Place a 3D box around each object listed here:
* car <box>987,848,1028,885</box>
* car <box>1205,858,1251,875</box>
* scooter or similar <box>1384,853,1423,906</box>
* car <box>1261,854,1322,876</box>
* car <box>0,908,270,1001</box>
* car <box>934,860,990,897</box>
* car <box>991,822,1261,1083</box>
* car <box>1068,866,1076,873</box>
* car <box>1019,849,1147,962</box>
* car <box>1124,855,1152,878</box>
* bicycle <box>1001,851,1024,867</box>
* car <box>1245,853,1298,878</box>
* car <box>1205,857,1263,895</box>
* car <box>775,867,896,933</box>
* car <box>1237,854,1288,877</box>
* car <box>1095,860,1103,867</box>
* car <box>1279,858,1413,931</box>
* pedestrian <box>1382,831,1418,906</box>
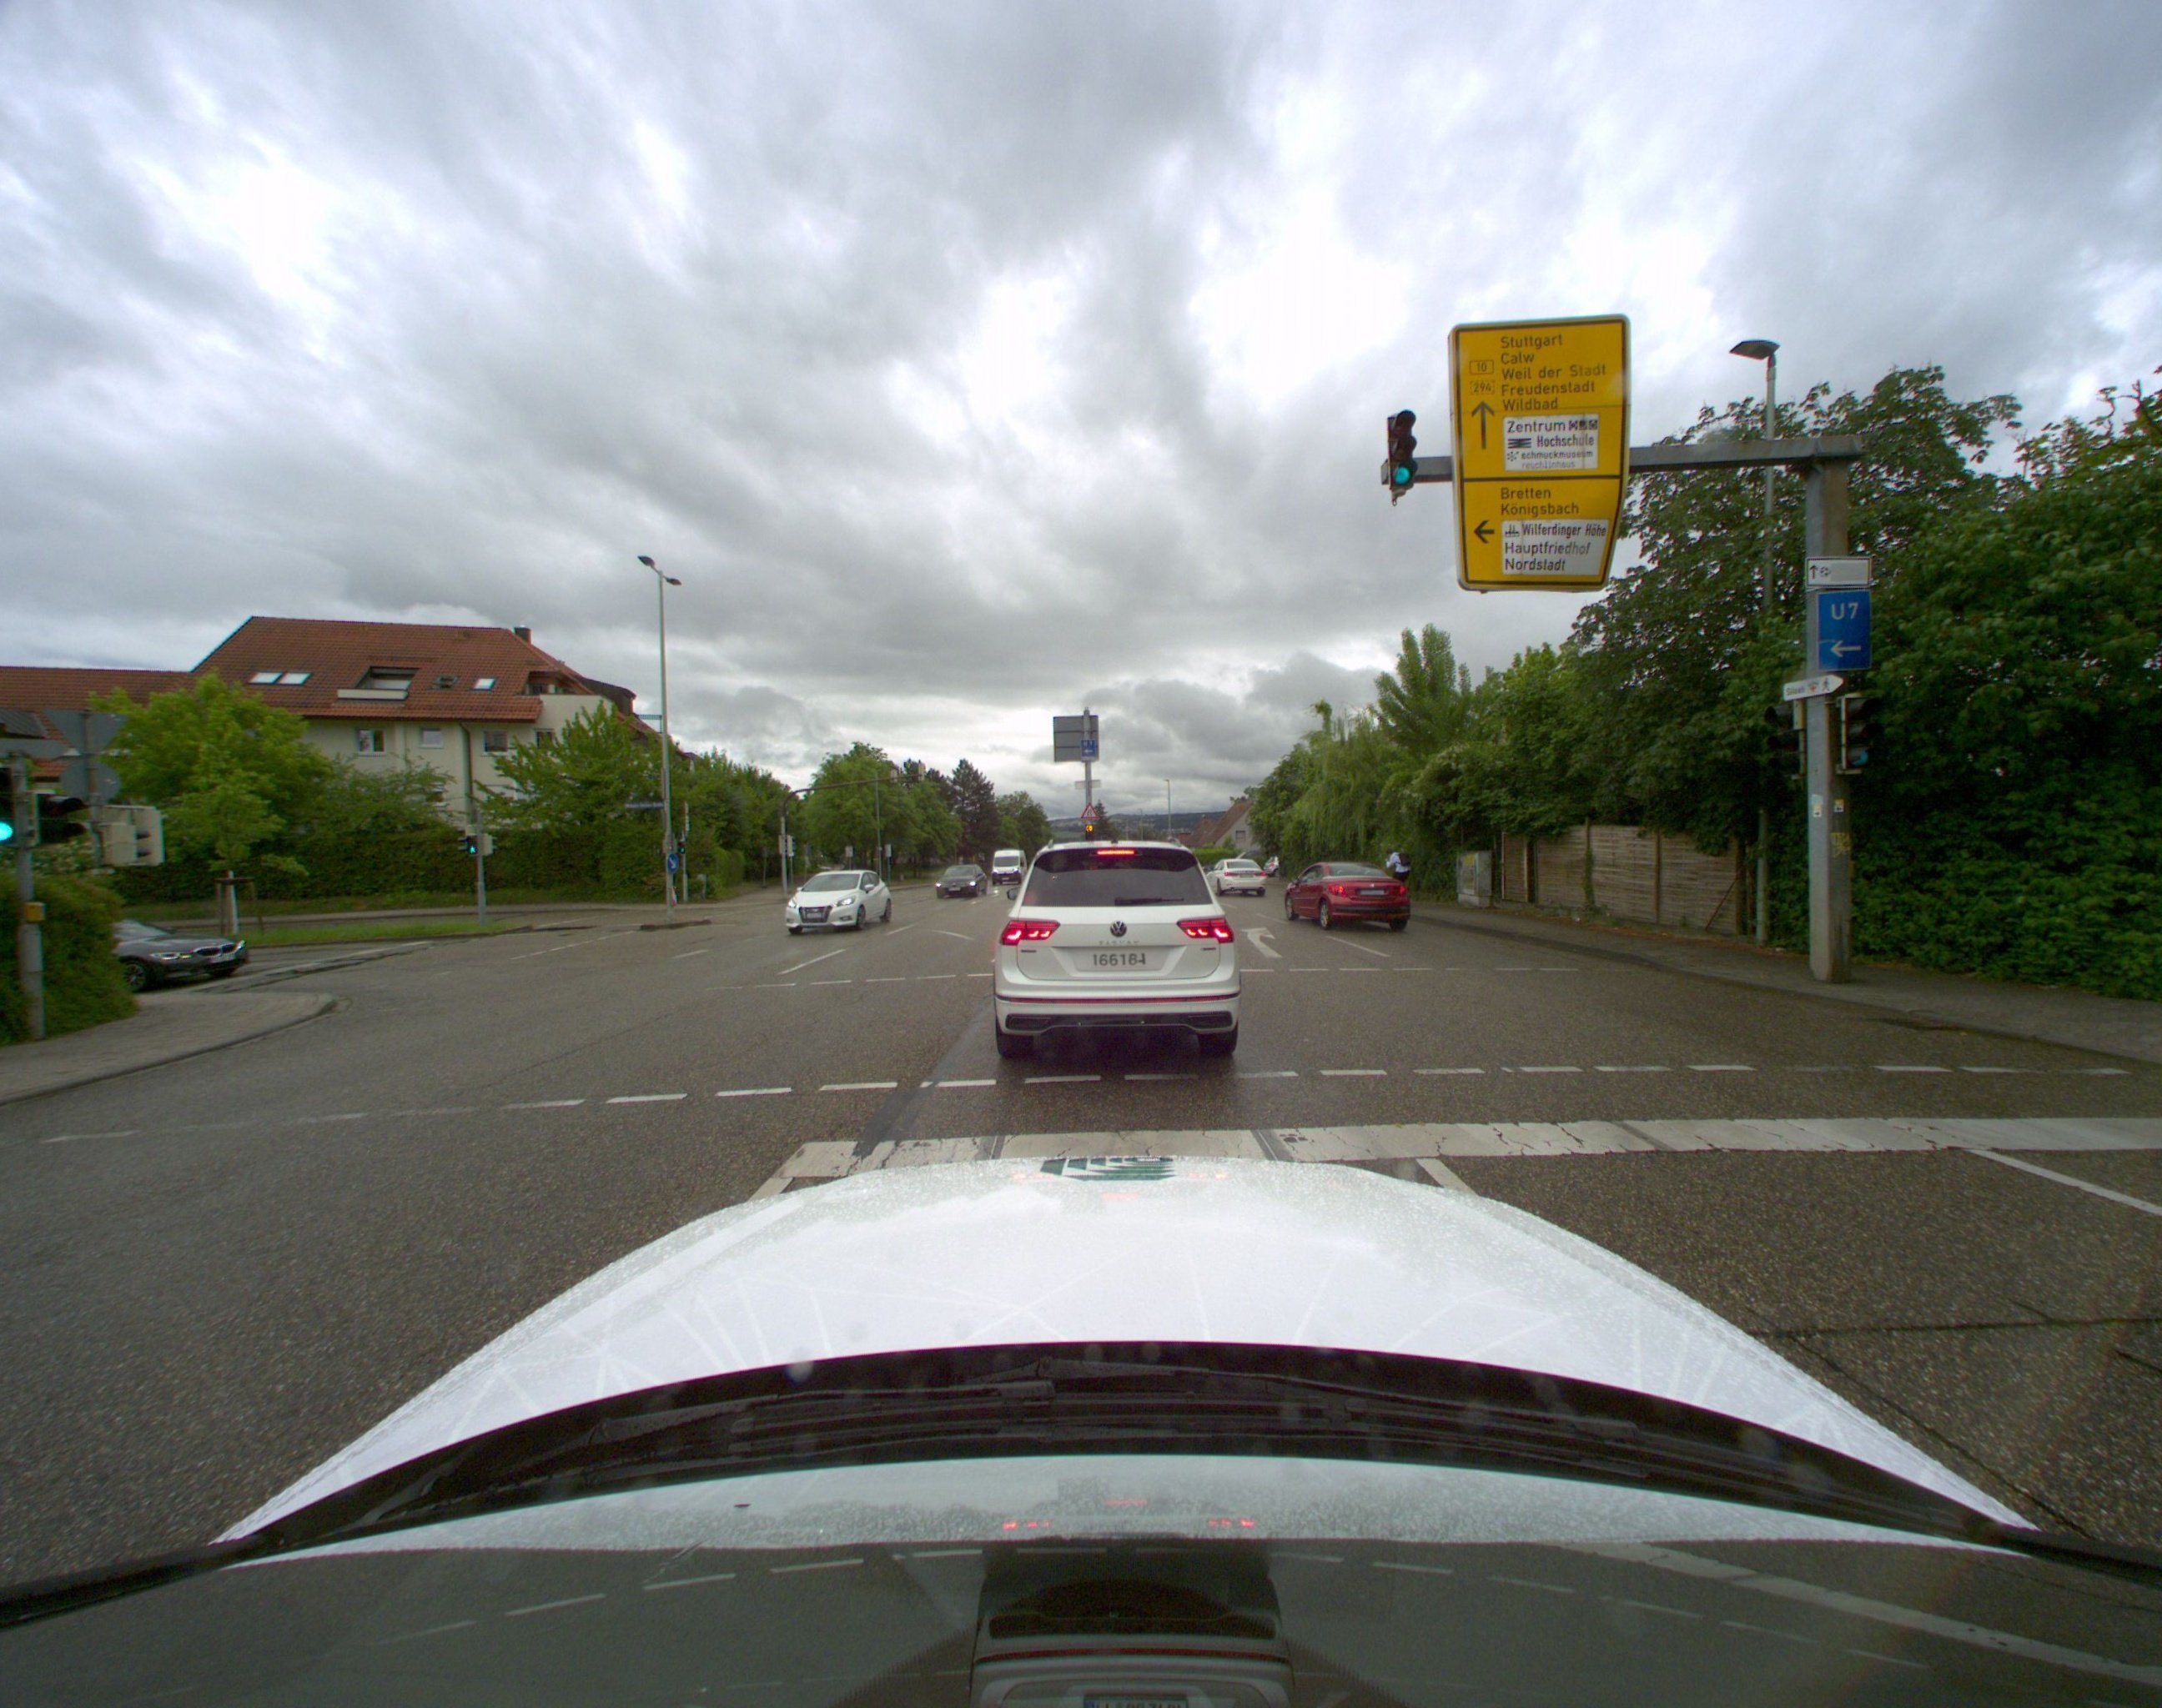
[{"bbox_3d":[-5.261,0.885,59.225,2.289,2.528,5.774,-2,0,1],"label":"car"},{"bbox_3d":[12.441,1.029,69.111,3.675,1.370,1.518,-1,-2,0],"label":"car"},{"bbox_3d":[8.739,0.672,22.104,0.460,1.361,1.384,-1,0,-2],"label":"scooter or similar"},{"bbox_3d":[14.513,0.783,56.289,3.709,1.395,1.725,-2,-2,-6],"label":"car"},{"bbox_3d":[-19.856,2.048,16.664,4.413,1.393,1.774,-4,1,-5],"label":"car"},{"bbox_3d":[-5.418,1.089,37.499,1.770,1.502,4.472,-3,0,1],"label":"car"},{"bbox_3d":[0.334,0.651,7.490,1.756,1.696,4.273,1,0,1],"label":"car"},{"bbox_3d":[-2.401,4.014,212.253,1.986,1.728,4.001,0,-1,2],"label":"car"},{"bbox_3d":[0.102,0.736,13.521,1.791,1.589,3.928,-1,0,2],"label":"car"},{"bbox_3d":[4.170,0.900,60.285,1.730,1.575,4.067,0,0,0],"label":"car"},{"bbox_3d":[-5.224,0.359,62.350,1.631,1.126,0.468,-3,0,0],"label":"bicycle"},{"bbox_3d":[14.394,0.875,61.686,3.618,1.746,1.707,-1,1,-2],"label":"car"},{"bbox_3d":[6.171,0.846,33.158,1.658,1.427,4.306,0,0,1],"label":"car"},{"bbox_3d":[-6.067,1.089,20.599,1.739,1.397,3.804,-2,0,2],"label":"car"},{"bbox_3d":[14.293,0.902,64.181,3.618,1.626,1.790,-1,1,-3],"label":"car"},{"bbox_3d":[4.478,2.386,200.658,1.843,1.574,4.002,-2,0,2],"label":"car"},{"bbox_3d":[5.644,0.794,17.785,1.621,1.403,3.686,0,0,-2],"label":"car"},{"bbox_3d":[8.717,0.381,22.285,0.654,2.002,0.717,-1,-1,-3],"label":"pedestrian"}]
